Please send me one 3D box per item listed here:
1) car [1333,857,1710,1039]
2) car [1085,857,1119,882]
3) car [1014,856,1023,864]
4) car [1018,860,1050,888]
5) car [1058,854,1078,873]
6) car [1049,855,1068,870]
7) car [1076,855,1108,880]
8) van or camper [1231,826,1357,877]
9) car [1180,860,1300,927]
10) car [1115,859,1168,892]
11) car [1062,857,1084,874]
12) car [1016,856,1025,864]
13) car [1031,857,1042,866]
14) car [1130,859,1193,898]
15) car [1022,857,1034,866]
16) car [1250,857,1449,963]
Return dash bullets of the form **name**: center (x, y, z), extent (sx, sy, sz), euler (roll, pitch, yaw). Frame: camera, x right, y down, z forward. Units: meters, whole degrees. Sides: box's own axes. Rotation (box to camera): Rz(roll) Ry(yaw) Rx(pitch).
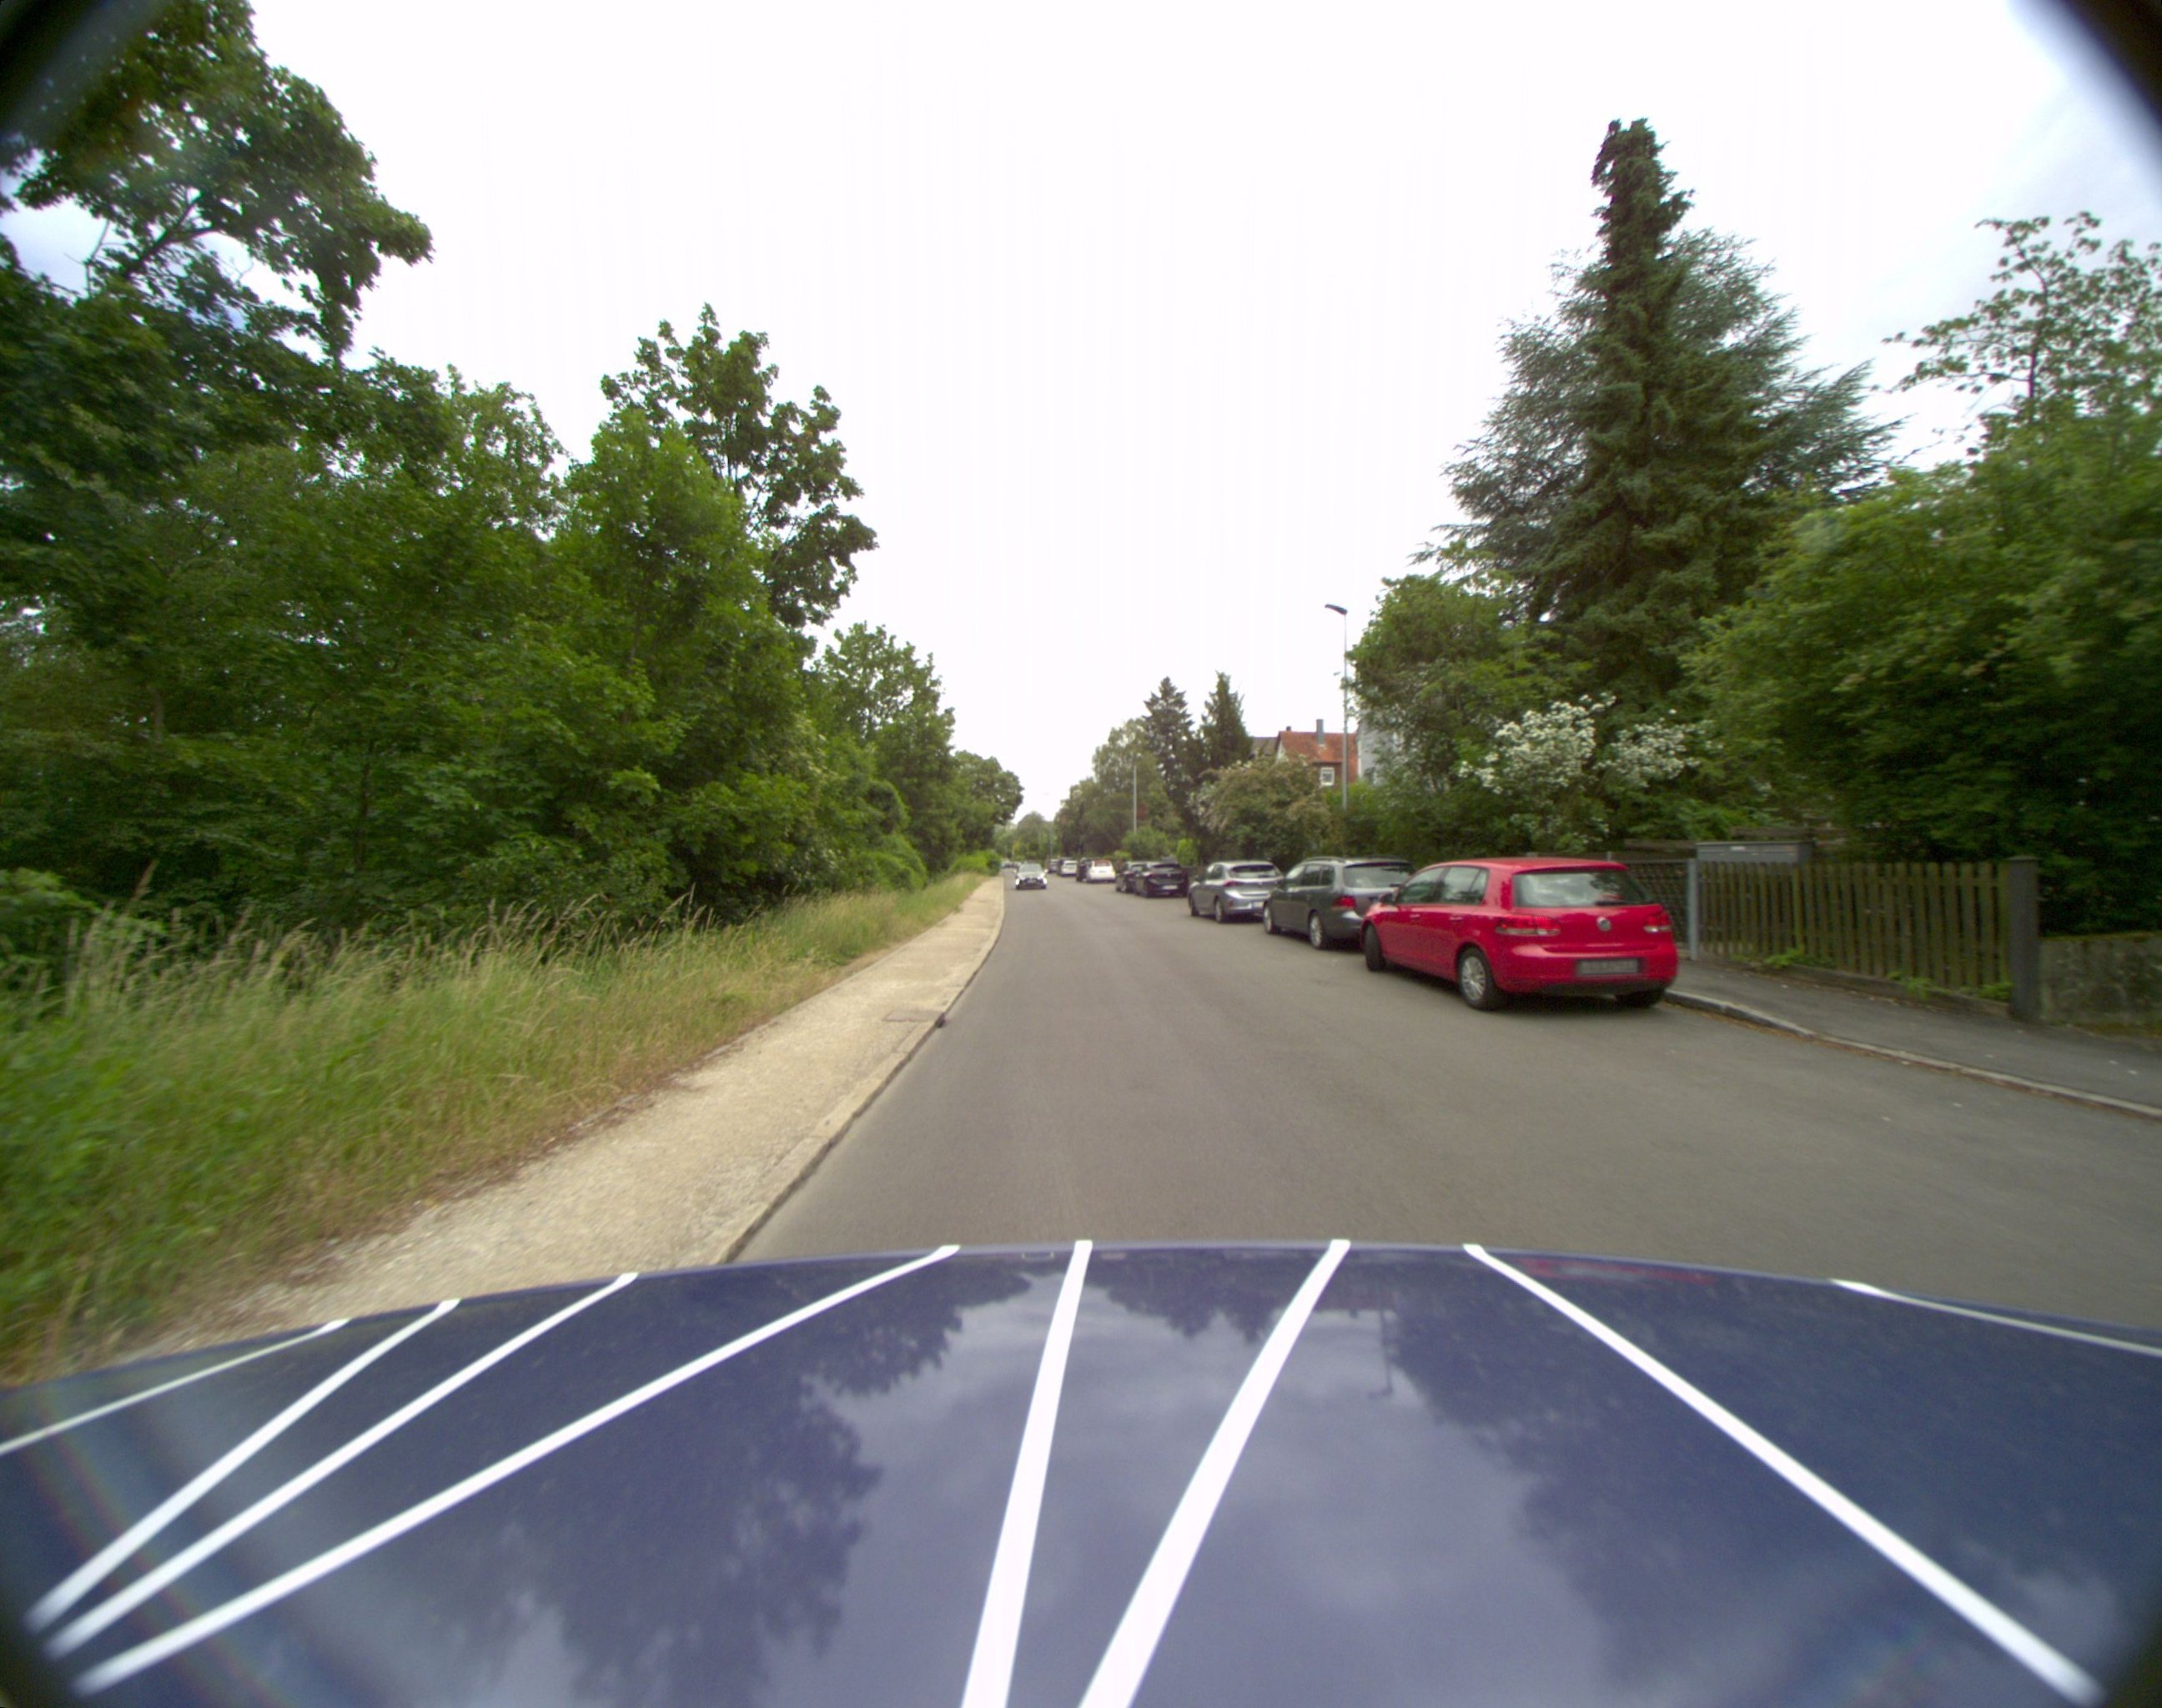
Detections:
- **car**: center (4.508, 0.815, 8.701), extent (1.711, 1.505, 4.363), euler (-2, 0, -1)
- **car**: center (1.327, 0.980, 50.029), extent (1.712, 1.502, 3.944), euler (-2, 0, -6)
- **car**: center (-14.731, 1.435, 178.974), extent (1.923, 1.670, 4.192), euler (-2, 0, -8)
- **car**: center (-2.730, 1.104, 43.724), extent (1.712, 1.466, 4.193), euler (-2, 0, -5)
- **car**: center (-1.314, 0.906, 76.092), extent (1.712, 1.789, 4.296), euler (-2, 0, -5)
- **car**: center (-2.687, 0.990, 88.841), extent (1.801, 1.598, 4.728), euler (-2, 0, -6)
- **car**: center (0.760, 0.930, 54.772), extent (1.797, 1.654, 4.389), euler (-2, 0, -6)
- **van or camper**: center (12.466, -0.135, 44.838), extent (6.694, 2.635, 2.324), euler (-3, 0, 4)
- **car**: center (3.801, 0.896, 18.910), extent (1.712, 1.402, 4.158), euler (-2, 0, -6)
- **car**: center (2.738, 0.952, 35.408), extent (1.712, 1.408, 4.147), euler (-2, 0, -6)
- **car**: center (-0.791, 1.010, 70.037), extent (1.712, 1.502, 4.553), euler (-2, 0, -4)
- **car**: center (-13.912, 1.416, 174.148), extent (1.923, 1.670, 4.192), euler (-2, 0, -8)
- **car**: center (-8.171, 1.358, 140.059), extent (1.923, 1.670, 4.193), euler (-2, 0, -5)
- **car**: center (3.176, 0.931, 30.787), extent (1.712, 1.408, 4.130), euler (-2, 0, -6)
- **car**: center (-10.463, 1.511, 150.442), extent (1.924, 1.670, 4.191), euler (-2, 0, -10)
- **car**: center (4.461, 0.824, 13.443), extent (1.711, 1.505, 4.494), euler (-2, 0, -3)
